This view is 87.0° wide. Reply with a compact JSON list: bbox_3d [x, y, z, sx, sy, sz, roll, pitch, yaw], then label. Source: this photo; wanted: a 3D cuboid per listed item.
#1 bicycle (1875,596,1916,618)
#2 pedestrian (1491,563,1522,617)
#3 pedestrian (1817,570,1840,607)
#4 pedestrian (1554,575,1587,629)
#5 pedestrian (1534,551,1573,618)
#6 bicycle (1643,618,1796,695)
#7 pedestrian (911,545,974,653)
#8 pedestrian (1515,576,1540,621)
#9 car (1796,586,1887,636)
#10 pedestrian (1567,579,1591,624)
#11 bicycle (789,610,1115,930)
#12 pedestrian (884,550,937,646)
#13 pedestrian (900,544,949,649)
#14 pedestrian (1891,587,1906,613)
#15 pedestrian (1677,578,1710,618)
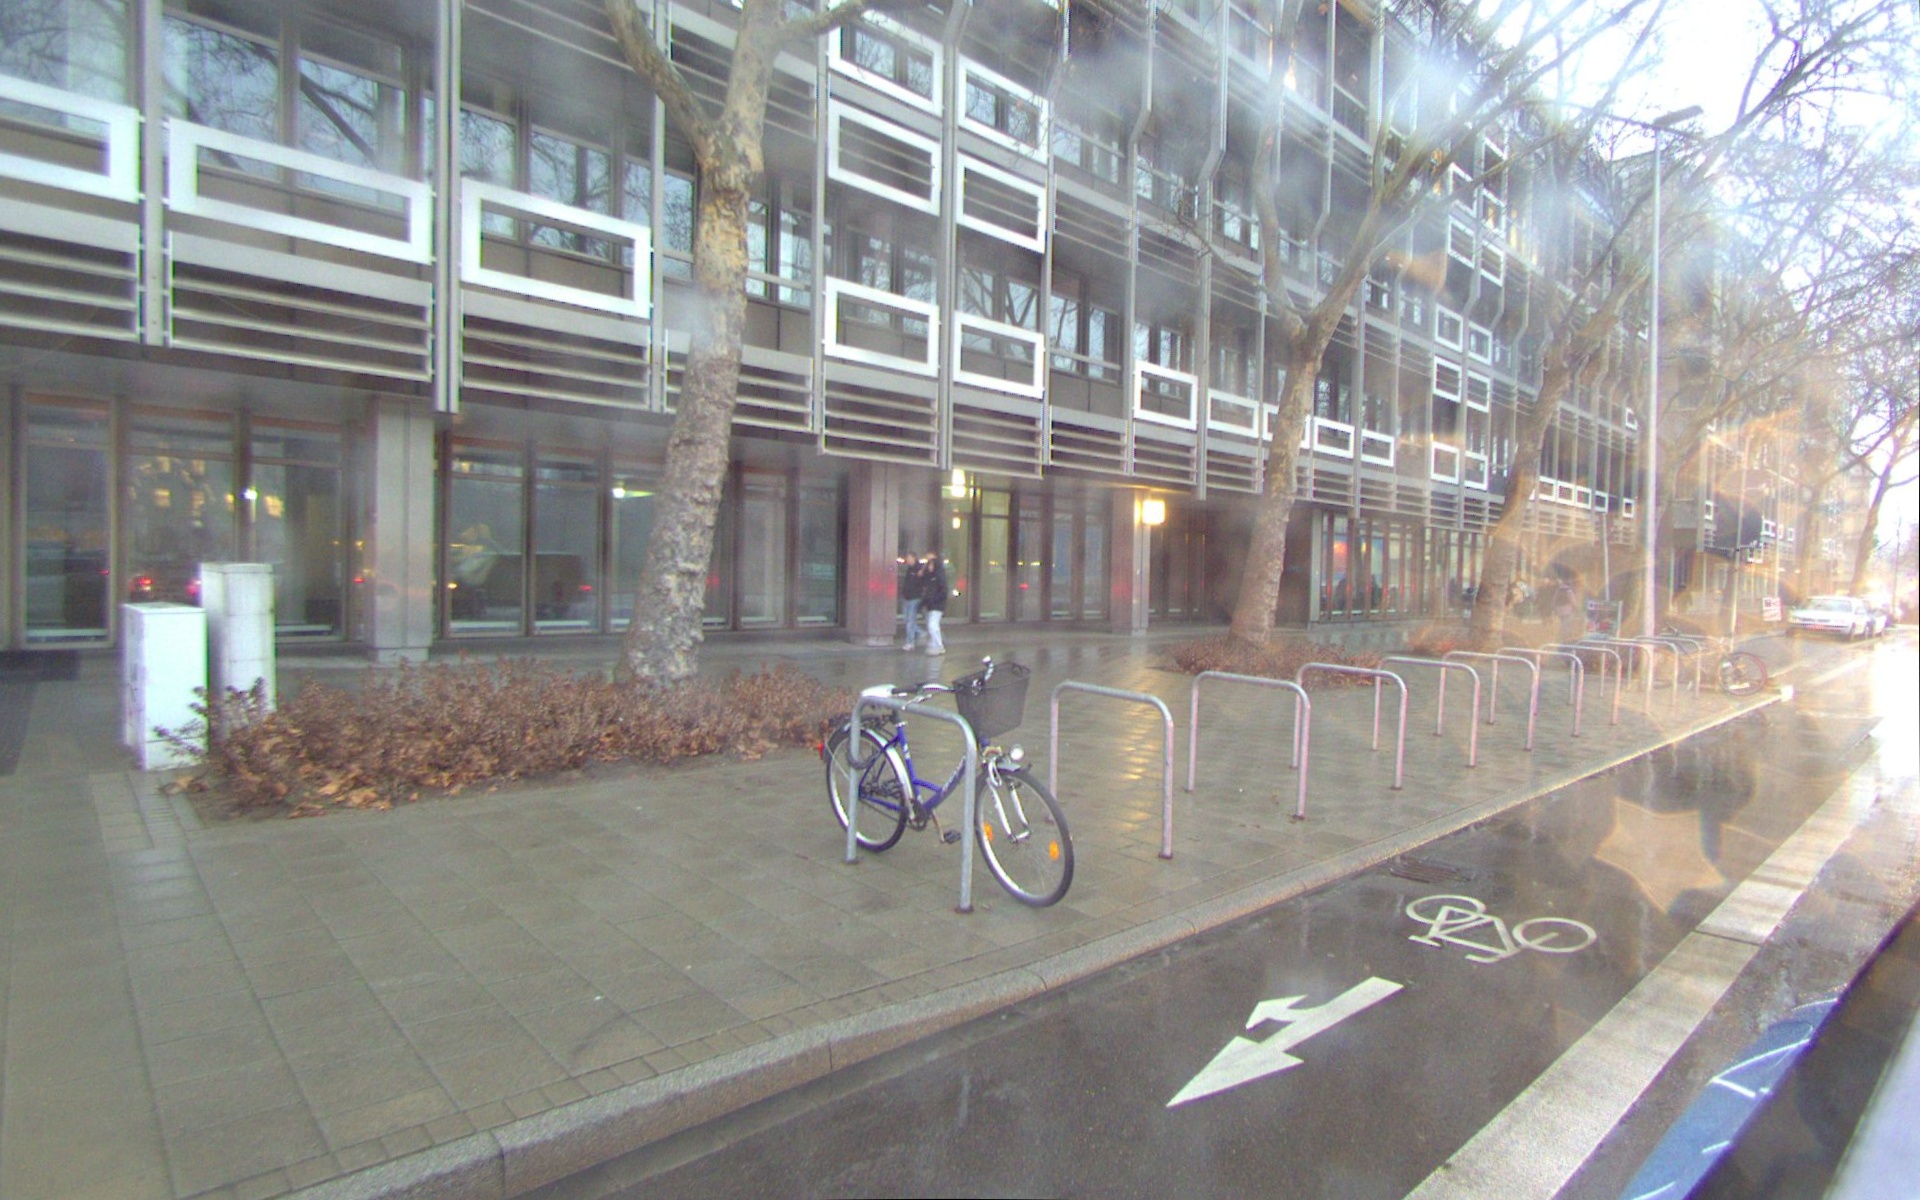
[{"bbox_3d":[47.016,0.337,50.877,1.518,1.049,0.462,0,1,42],"label":"bicycle"},{"bbox_3d":[17.490,-0.324,32.396,0.767,1.677,0.617,0,1,-41],"label":"pedestrian"},{"bbox_3d":[48.745,-0.641,56.799,1.007,2.039,0.790,0,1,-41],"label":"pedestrian"},{"bbox_3d":[18.132,0.043,30.047,0.604,1.563,0.649,0,1,-40],"label":"pedestrian"},{"bbox_3d":[18.227,-0.483,31.107,0.723,2.039,0.821,0,1,-43],"label":"pedestrian"},{"bbox_3d":[11.651,0.839,15.566,0.607,0.986,1.789,0,3,-45],"label":"bicycle"},{"bbox_3d":[-0.279,-0.030,16.229,0.858,1.689,0.501,0,2,-41],"label":"pedestrian"},{"bbox_3d":[17.789,-0.051,31.710,0.493,1.386,0.494,0,1,-36],"label":"pedestrian"},{"bbox_3d":[29.427,0.328,33.750,3.859,1.449,1.609,0,4,-39],"label":"car"},{"bbox_3d":[23.504,0.039,38.443,0.638,1.675,0.831,2,1,39],"label":"pedestrian"},{"bbox_3d":[-0.116,0.695,4.840,0.428,1.162,1.752,0,4,-44],"label":"bicycle"},{"bbox_3d":[-0.838,-0.043,17.133,0.733,1.583,0.484,0,1,-42],"label":"pedestrian"},{"bbox_3d":[-0.586,-0.059,16.623,0.701,1.689,0.379,0,1,-41],"label":"pedestrian"},{"bbox_3d":[74.425,-0.017,80.259,0.758,2.039,0.837,-1,0,-42],"label":"pedestrian"},{"bbox_3d":[28.653,-0.079,39.520,0.824,1.543,0.865,0,2,-44],"label":"pedestrian"}]
